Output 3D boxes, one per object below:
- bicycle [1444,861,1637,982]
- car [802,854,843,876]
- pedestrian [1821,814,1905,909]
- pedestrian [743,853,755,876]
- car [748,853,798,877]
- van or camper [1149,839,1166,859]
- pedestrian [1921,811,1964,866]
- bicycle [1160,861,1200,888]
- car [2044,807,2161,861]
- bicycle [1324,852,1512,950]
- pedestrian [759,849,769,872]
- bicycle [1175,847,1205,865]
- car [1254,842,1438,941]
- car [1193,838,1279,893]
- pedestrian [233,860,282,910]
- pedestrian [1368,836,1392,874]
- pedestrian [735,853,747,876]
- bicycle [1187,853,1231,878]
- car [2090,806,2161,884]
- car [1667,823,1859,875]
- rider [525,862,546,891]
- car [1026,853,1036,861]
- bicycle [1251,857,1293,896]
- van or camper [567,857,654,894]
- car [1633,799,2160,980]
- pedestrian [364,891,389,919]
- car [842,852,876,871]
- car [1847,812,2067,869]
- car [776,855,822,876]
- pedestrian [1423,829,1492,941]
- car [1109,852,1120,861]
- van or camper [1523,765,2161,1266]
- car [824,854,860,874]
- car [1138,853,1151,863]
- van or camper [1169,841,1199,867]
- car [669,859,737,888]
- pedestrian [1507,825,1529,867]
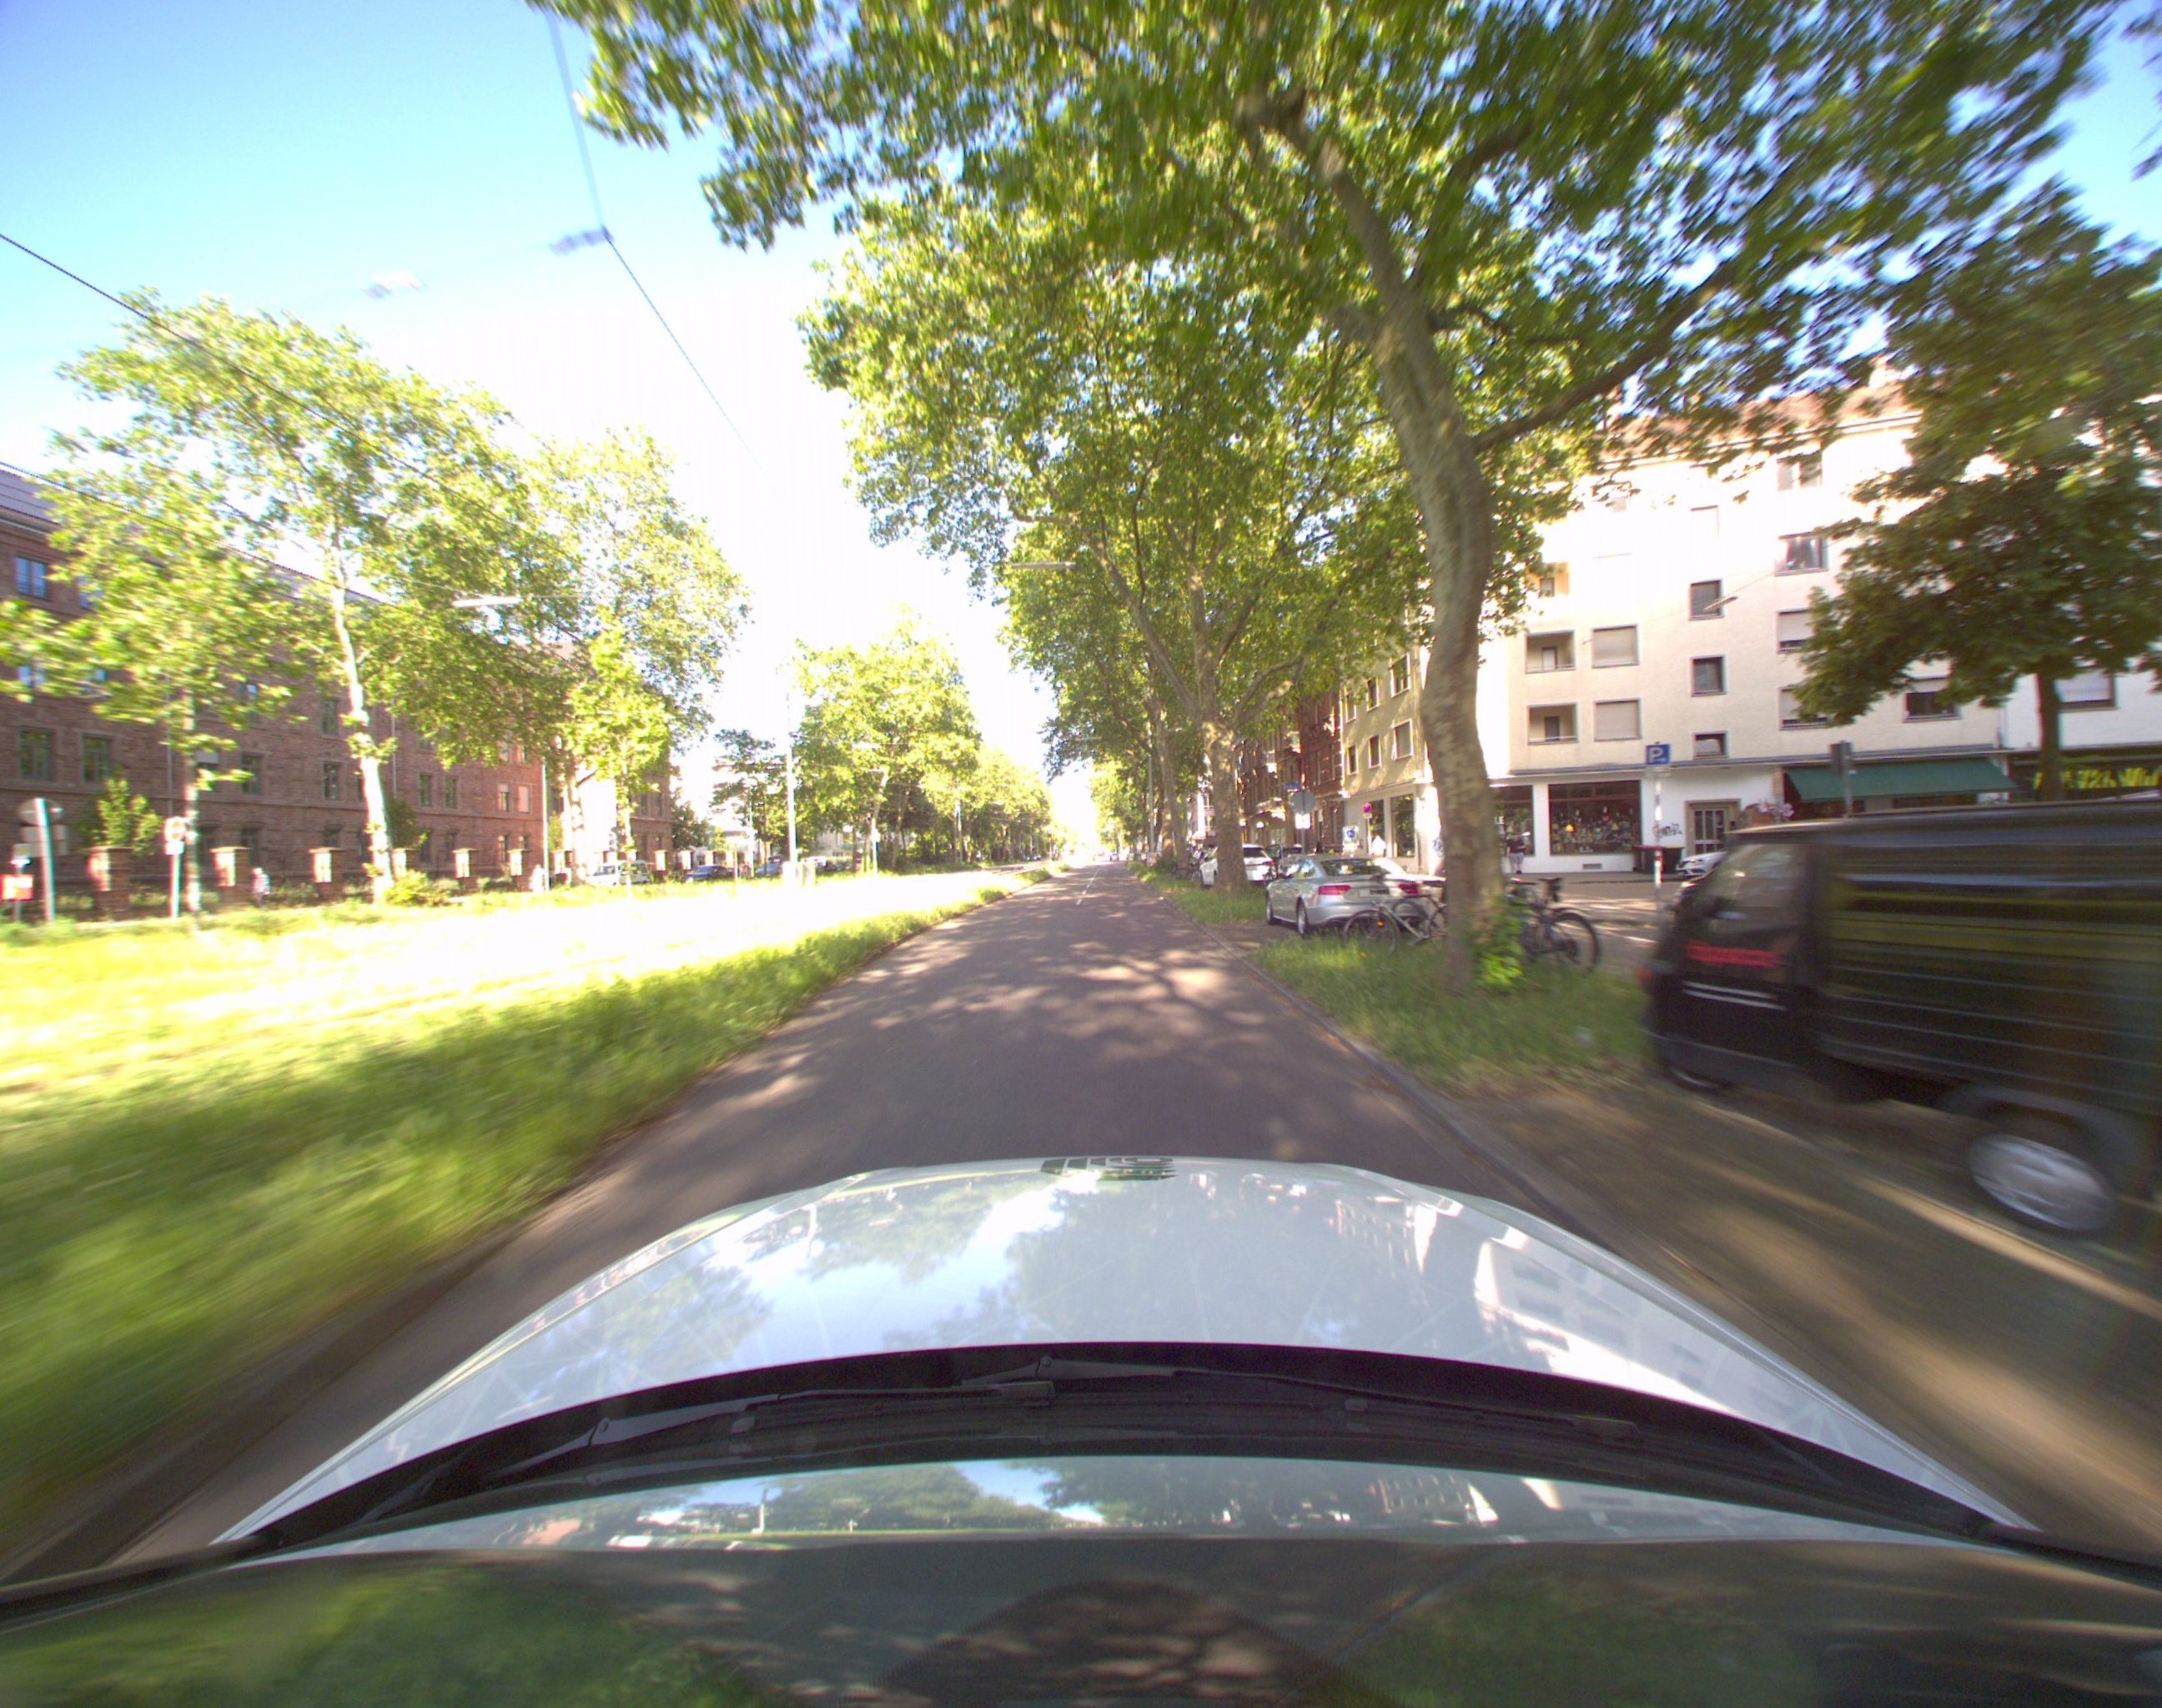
[{"bbox_3d":[4.694,0.631,8.500,0.757,1.078,1.882,-2,0,-8],"label":"bicycle"},{"bbox_3d":[-23.845,0.985,75.364,2.101,1.809,4.739,-2,1,1],"label":"car"},{"bbox_3d":[14.147,0.125,14.760,0.675,1.651,0.907,-2,1,9],"label":"pedestrian"},{"bbox_3d":[-29.536,0.914,72.536,0.712,2.013,0.626,-2,0,2],"label":"pedestrian"},{"bbox_3d":[-24.256,0.806,64.295,1.759,1.719,4.428,-2,1,6],"label":"car"},{"bbox_3d":[9.825,-0.622,105.041,2.174,2.480,6.276,0,0,5],"label":"van or camper"},{"bbox_3d":[29.163,-0.530,27.567,0.716,1.809,0.692,-2,0,16],"label":"pedestrian"},{"bbox_3d":[4.156,0.855,34.155,1.584,1.058,0.405,-2,0,8],"label":"bicycle"},{"bbox_3d":[32.571,-0.630,24.431,4.347,1.536,2.009,-1,0,17],"label":"car"},{"bbox_3d":[4.183,0.573,10.211,2.063,1.124,0.677,-2,0,0],"label":"bicycle"},{"bbox_3d":[-27.687,0.571,71.109,0.583,2.013,0.710,-2,0,1],"label":"pedestrian"},{"bbox_3d":[8.031,0.167,60.241,2.154,1.294,0.984,-1,0,3],"label":"bicycle"},{"bbox_3d":[4.415,0.531,14.425,1.747,1.398,5.028,-1,0,2],"label":"car"},{"bbox_3d":[5.100,0.325,27.485,1.897,1.636,4.822,-2,0,-1],"label":"car"},{"bbox_3d":[-32.263,1.201,31.924,0.897,1.899,0.943,-2,0,3],"label":"pedestrian"},{"bbox_3d":[13.629,0.049,37.166,0.792,1.704,0.724,-2,0,2],"label":"pedestrian"},{"bbox_3d":[-30.313,0.959,72.514,0.712,2.013,0.626,-2,0,2],"label":"pedestrian"},{"bbox_3d":[4.954,0.438,31.487,1.773,0.928,0.646,-2,0,-39],"label":"bicycle"},{"bbox_3d":[23.374,-0.206,16.199,1.978,1.627,4.409,-2,0,16],"label":"car"},{"bbox_3d":[22.880,-0.165,27.539,4.550,1.580,2.009,-1,0,17],"label":"car"},{"bbox_3d":[-31.881,1.318,47.617,0.725,1.644,0.686,-2,0,2],"label":"rider"},{"bbox_3d":[-11.282,0.683,184.115,1.788,1.508,4.342,-4,0,3],"label":"car"},{"bbox_3d":[4.972,0.559,21.331,0.636,0.925,2.165,-2,0,2],"label":"bicycle"},{"bbox_3d":[-24.936,1.090,43.403,1.987,1.787,4.431,-2,0,0],"label":"van or camper"},{"bbox_3d":[9.834,0.337,10.657,1.812,1.742,5.170,-2,0,2],"label":"car"},{"bbox_3d":[-29.277,2.133,33.862,0.584,1.100,0.479,-2,0,0],"label":"pedestrian"},{"bbox_3d":[-23.559,0.800,86.579,2.102,1.809,4.739,-2,1,1],"label":"car"},{"bbox_3d":[27.694,-0.406,25.952,4.347,1.644,2.009,-1,0,17],"label":"car"},{"bbox_3d":[-24.134,0.926,69.790,1.983,1.615,4.428,-2,1,6],"label":"car"},{"bbox_3d":[5.578,0.446,12.111,0.685,1.610,0.713,1,0,2],"label":"pedestrian"},{"bbox_3d":[6.335,0.491,153.742,2.014,1.662,4.001,-2,0,1],"label":"car"},{"bbox_3d":[3.842,0.494,3.883,1.503,1.588,2.825,-2,0,-15],"label":"van or camper"},{"bbox_3d":[-23.655,0.989,80.780,2.102,1.809,4.738,-2,1,0],"label":"car"},{"bbox_3d":[10.326,0.634,132.819,1.678,1.514,3.666,-1,0,0],"label":"car"},{"bbox_3d":[8.486,-0.020,67.403,1.827,2.098,4.774,1,0,0],"label":"van or camper"},{"bbox_3d":[-24.777,1.240,53.645,1.985,1.649,4.830,-2,1,2],"label":"car"},{"bbox_3d":[17.568,-0.329,32.760,0.587,1.649,0.727,-2,0,13],"label":"pedestrian"}]
